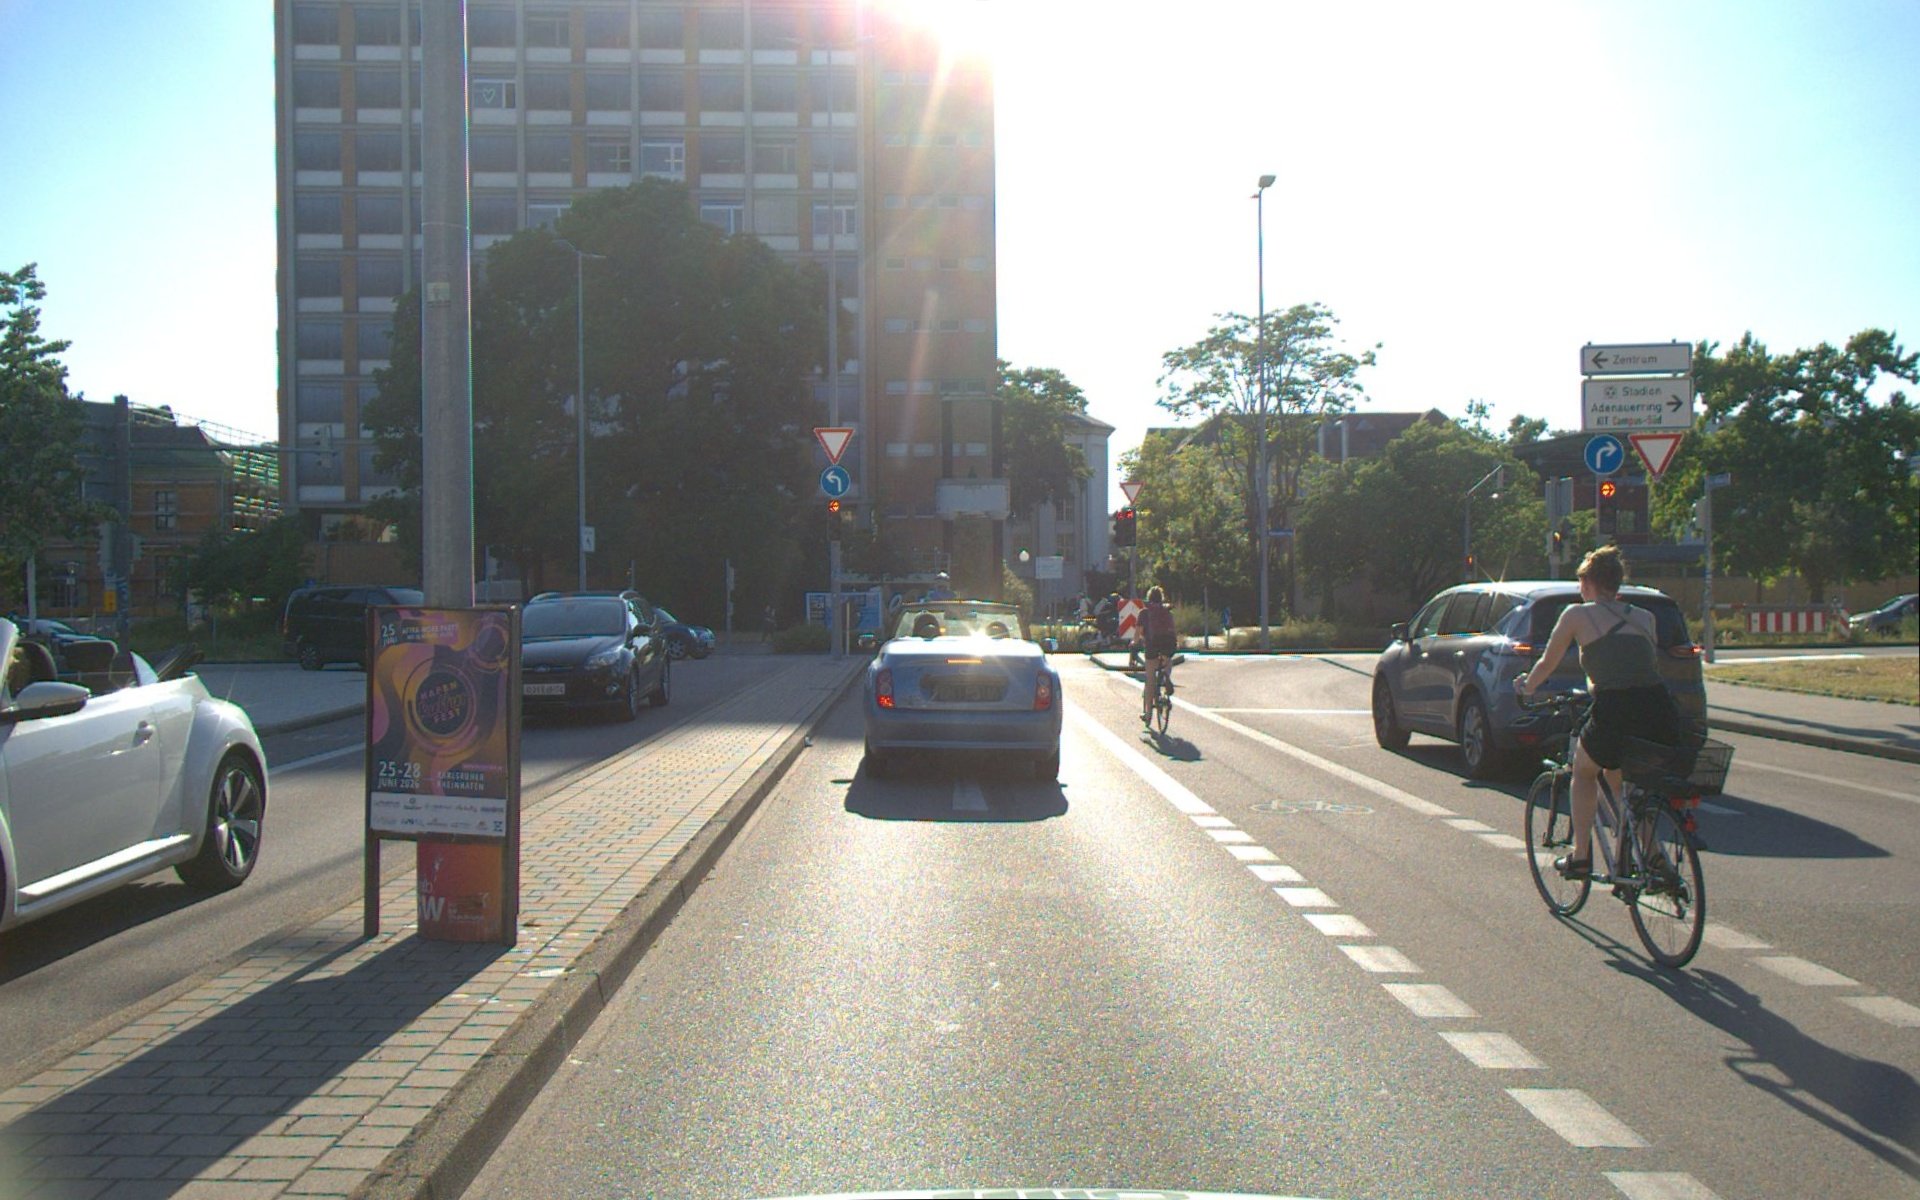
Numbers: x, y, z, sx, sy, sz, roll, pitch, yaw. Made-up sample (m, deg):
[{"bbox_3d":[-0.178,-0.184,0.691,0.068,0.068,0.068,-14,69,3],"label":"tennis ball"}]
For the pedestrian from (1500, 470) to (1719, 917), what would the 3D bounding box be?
[{"bbox_3d":[2.922,0.403,7.508,0.645,1.902,0.872,1,-1,0],"label":"pedestrian"}]

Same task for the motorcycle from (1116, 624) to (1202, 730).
[{"bbox_3d":[2.224,0.833,18.734,0.601,1.117,2.359,1,-1,-2],"label":"motorcycle"}]

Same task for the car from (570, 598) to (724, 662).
[{"bbox_3d":[-8.084,0.757,42.881,3.560,1.588,1.651,-1,0,9],"label":"car"}]

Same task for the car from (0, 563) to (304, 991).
[{"bbox_3d":[-4.426,0.666,7.041,1.763,1.556,3.998,-2,0,-2],"label":"car"}]

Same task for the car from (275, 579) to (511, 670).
[{"bbox_3d":[-13.001,0.573,37.871,5.053,1.927,2.243,-2,0,28],"label":"car"}]

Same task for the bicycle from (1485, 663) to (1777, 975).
[{"bbox_3d":[2.940,0.893,7.456,0.552,1.171,1.950,1,-1,1],"label":"bicycle"}]

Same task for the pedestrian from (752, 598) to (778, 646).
[{"bbox_3d":[-7.860,0.877,66.807,0.851,1.902,0.661,1,-1,10],"label":"pedestrian"}]

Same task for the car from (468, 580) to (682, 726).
[{"bbox_3d":[-4.586,0.578,20.248,1.763,1.556,3.998,-2,0,-2],"label":"car"}]

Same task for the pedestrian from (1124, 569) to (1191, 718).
[{"bbox_3d":[2.226,0.481,18.681,0.576,1.626,1.024,1,-1,-2],"label":"pedestrian"}]

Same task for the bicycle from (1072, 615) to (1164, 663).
[{"bbox_3d":[4.118,1.006,43.188,2.356,1.212,0.610,1,-1,5],"label":"bicycle"}]

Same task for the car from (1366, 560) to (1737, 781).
[{"bbox_3d":[5.227,0.594,15.283,1.794,1.719,4.367,1,-1,-1],"label":"car"}]

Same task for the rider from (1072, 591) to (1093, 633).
[{"bbox_3d":[4.775,0.478,64.518,0.735,1.626,0.590,1,-1,10],"label":"rider"}]

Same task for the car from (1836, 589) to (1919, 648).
[{"bbox_3d":[26.903,0.502,46.582,3.560,1.588,1.651,-1,0,8],"label":"car"}]

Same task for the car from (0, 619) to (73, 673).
[{"bbox_3d":[-29.463,1.418,50.858,3.513,1.588,1.651,-1,0,4],"label":"car"}]

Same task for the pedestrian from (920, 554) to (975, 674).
[{"bbox_3d":[-0.190,0.224,26.761,0.816,1.902,0.921,1,-1,2],"label":"pedestrian"}]

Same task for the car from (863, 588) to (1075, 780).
[{"bbox_3d":[-0.035,0.685,14.919,1.627,1.466,4.151,1,-1,-3],"label":"car"}]

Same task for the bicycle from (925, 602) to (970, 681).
[{"bbox_3d":[-0.188,0.667,26.760,0.595,1.212,2.415,1,-1,2],"label":"bicycle"}]

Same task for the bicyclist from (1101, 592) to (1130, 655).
[{"bbox_3d":[4.056,0.624,43.205,0.735,1.626,0.590,1,-1,5],"label":"bicyclist"}]
